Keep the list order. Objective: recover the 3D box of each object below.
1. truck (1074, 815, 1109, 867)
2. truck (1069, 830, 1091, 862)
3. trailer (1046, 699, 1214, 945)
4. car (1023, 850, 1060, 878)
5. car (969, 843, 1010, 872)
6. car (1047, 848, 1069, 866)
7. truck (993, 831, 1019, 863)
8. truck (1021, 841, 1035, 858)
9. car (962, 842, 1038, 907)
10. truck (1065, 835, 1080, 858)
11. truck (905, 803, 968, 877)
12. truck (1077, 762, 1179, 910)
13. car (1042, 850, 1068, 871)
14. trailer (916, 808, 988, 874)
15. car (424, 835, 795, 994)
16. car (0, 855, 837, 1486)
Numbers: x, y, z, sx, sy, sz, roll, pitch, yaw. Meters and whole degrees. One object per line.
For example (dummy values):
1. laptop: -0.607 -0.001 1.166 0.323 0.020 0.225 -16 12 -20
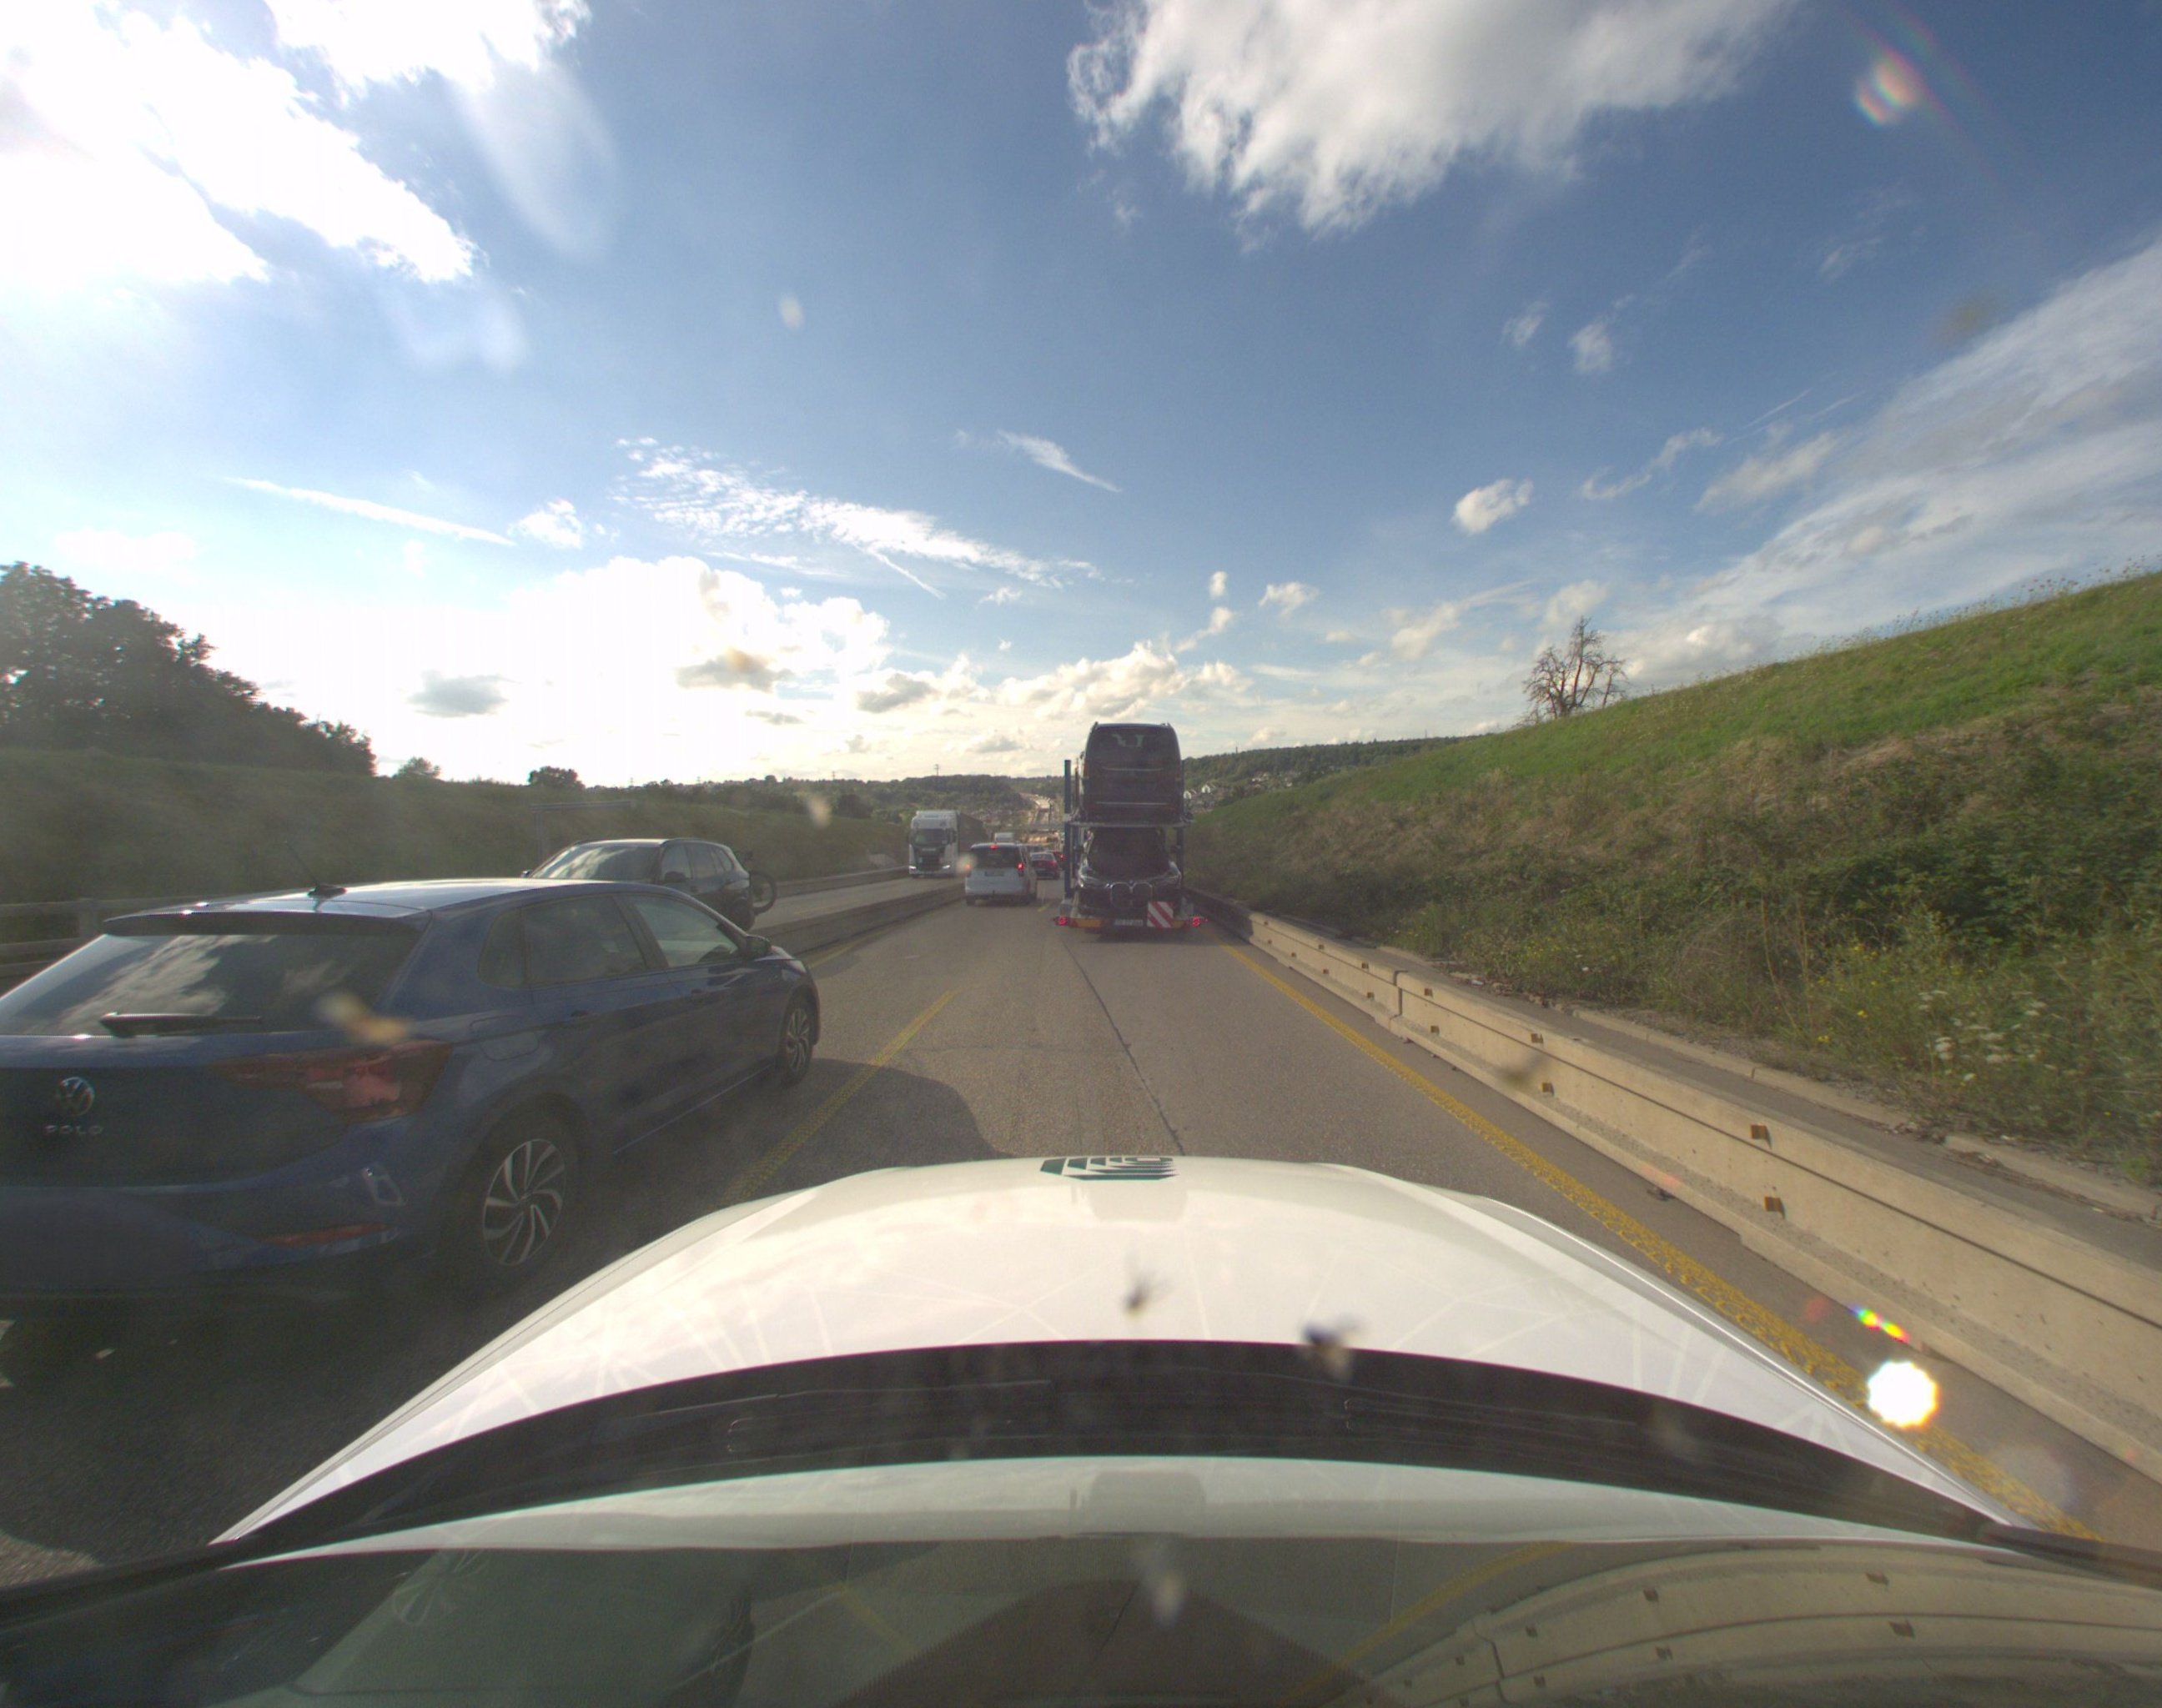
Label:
1. truck: 0.914 -1.178 78.342 2.856 4.570 11.651 -1 0 -1
2. truck: -0.215 -1.198 122.528 2.856 4.570 11.651 -1 0 -1
3. trailer: 0.906 -0.558 19.204 2.699 4.028 11.421 -1 0 1
4. car: -2.163 0.517 45.566 1.817 1.492 4.683 0 1 0
5. car: -5.303 0.235 47.806 1.814 1.603 4.001 0 -1 2
6. car: -2.085 0.244 74.837 1.790 1.596 4.742 -1 0 0
7. truck: -9.968 -0.932 109.185 2.631 4.099 10.813 -1 0 -1
8. truck: -12.755 -1.100 197.424 2.630 4.099 10.818 -1 0 0
9. car: -2.395 0.555 25.021 1.817 1.823 4.457 0 1 1
10. truck: -1.853 -1.494 169.916 2.856 4.570 11.651 -1 0 -1
11. truck: -8.600 -0.806 49.052 2.606 4.153 5.781 -1 0 0
12. truck: 1.272 -0.509 24.922 2.669 3.922 6.027 -1 0 0
13. car: -2.047 0.499 65.921 1.987 1.625 4.749 0 0 0
14. trailer: -8.524 -0.821 55.784 2.606 3.953 13.874 -1 0 0
15. car: -6.204 0.622 11.804 1.940 1.746 5.582 0 1 2
16. car: -2.719 0.775 3.988 1.708 1.508 4.002 0 0 2
